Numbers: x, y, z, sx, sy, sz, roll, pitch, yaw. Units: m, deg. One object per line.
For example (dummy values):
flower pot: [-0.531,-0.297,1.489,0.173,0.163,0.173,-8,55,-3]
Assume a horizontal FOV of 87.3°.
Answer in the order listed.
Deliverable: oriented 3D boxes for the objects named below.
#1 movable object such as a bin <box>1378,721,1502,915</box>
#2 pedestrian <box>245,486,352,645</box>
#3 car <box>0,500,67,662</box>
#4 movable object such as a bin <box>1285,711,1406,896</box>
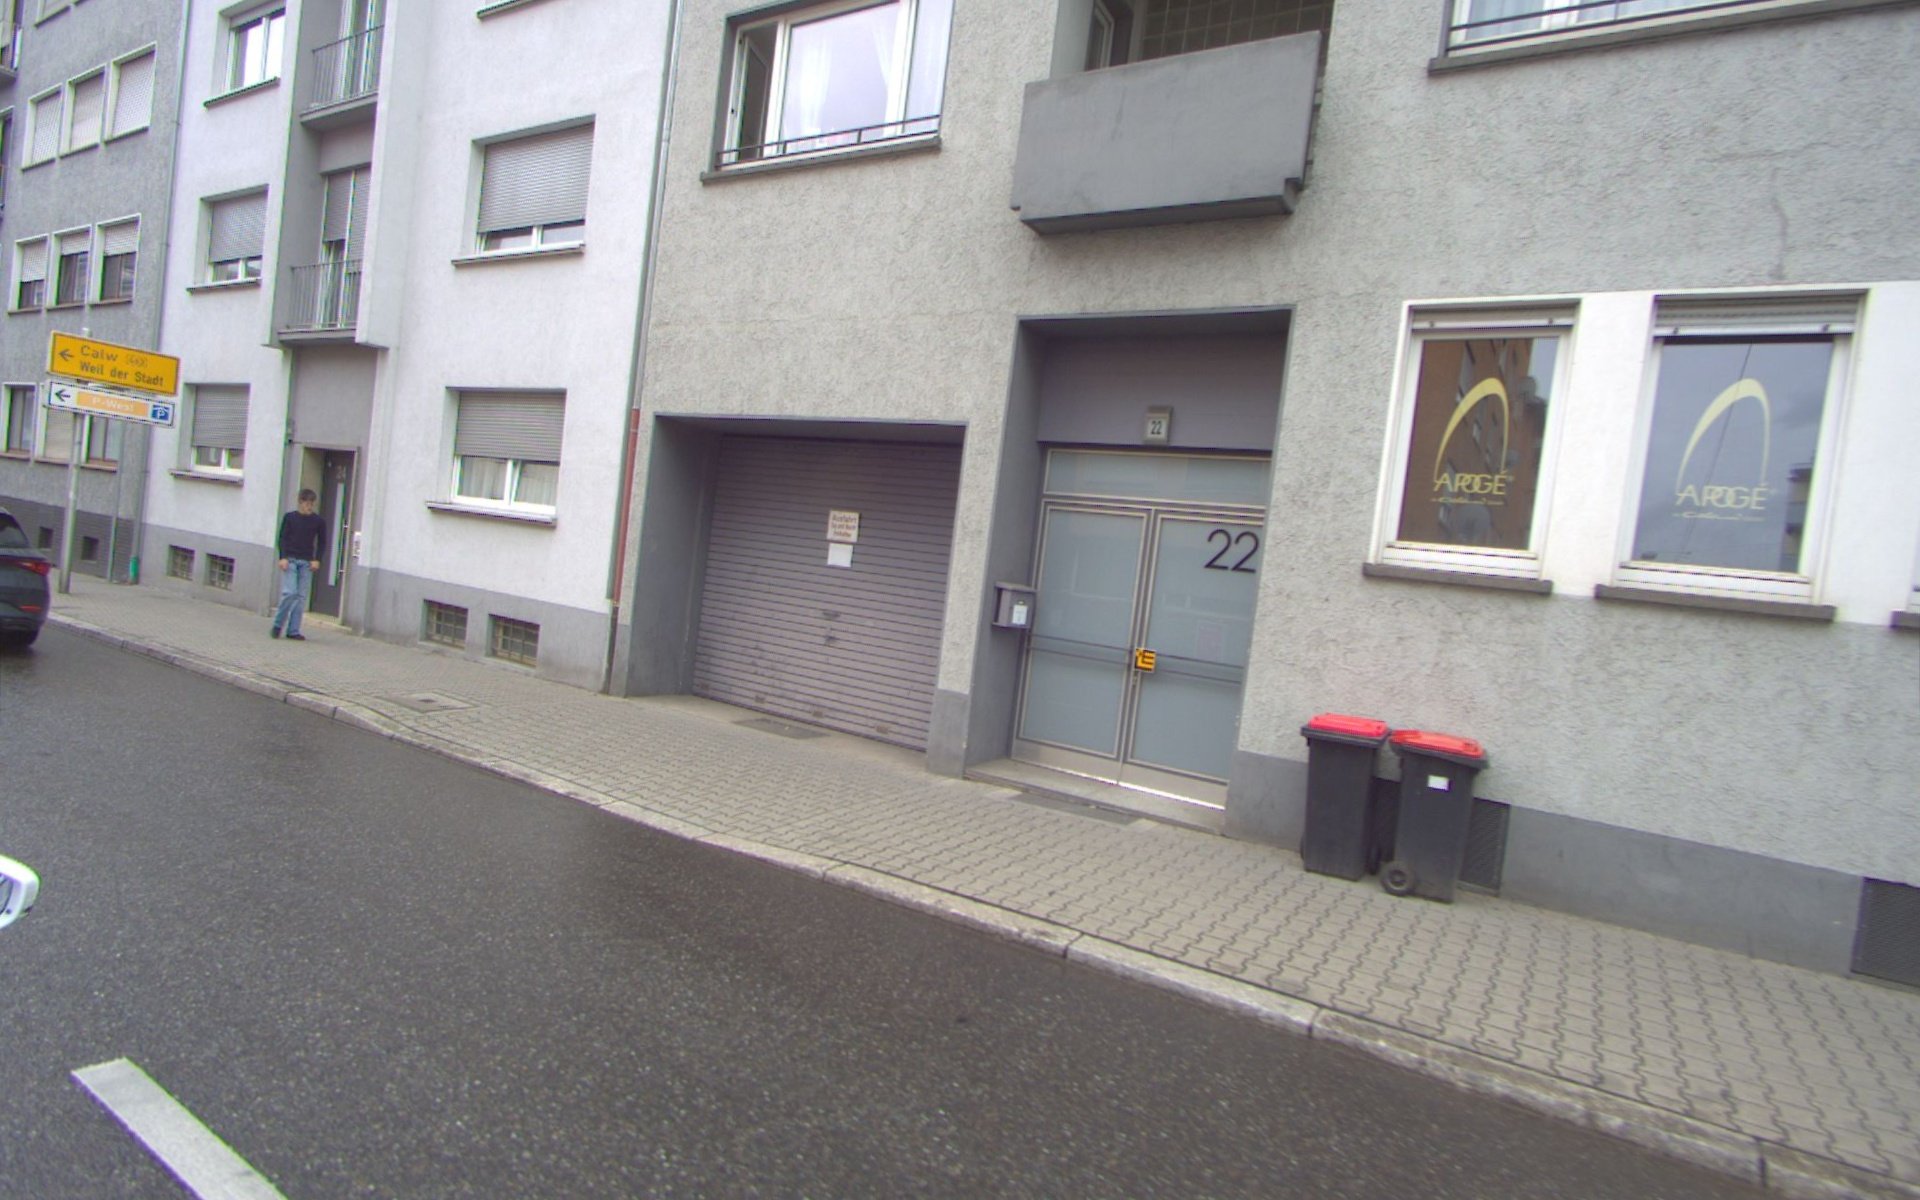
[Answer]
movable object such as a bin: [2.832,1.252,5.926,0.507,0.963,0.539,7,4,32]
pedestrian: [-8.007,-0.418,12.174,1.039,1.802,0.643,7,4,31]
car: [-10.714,-0.432,9.879,4.240,1.446,1.624,7,-2,31]
movable object such as a bin: [2.382,1.224,6.204,0.507,0.969,0.539,7,4,32]
